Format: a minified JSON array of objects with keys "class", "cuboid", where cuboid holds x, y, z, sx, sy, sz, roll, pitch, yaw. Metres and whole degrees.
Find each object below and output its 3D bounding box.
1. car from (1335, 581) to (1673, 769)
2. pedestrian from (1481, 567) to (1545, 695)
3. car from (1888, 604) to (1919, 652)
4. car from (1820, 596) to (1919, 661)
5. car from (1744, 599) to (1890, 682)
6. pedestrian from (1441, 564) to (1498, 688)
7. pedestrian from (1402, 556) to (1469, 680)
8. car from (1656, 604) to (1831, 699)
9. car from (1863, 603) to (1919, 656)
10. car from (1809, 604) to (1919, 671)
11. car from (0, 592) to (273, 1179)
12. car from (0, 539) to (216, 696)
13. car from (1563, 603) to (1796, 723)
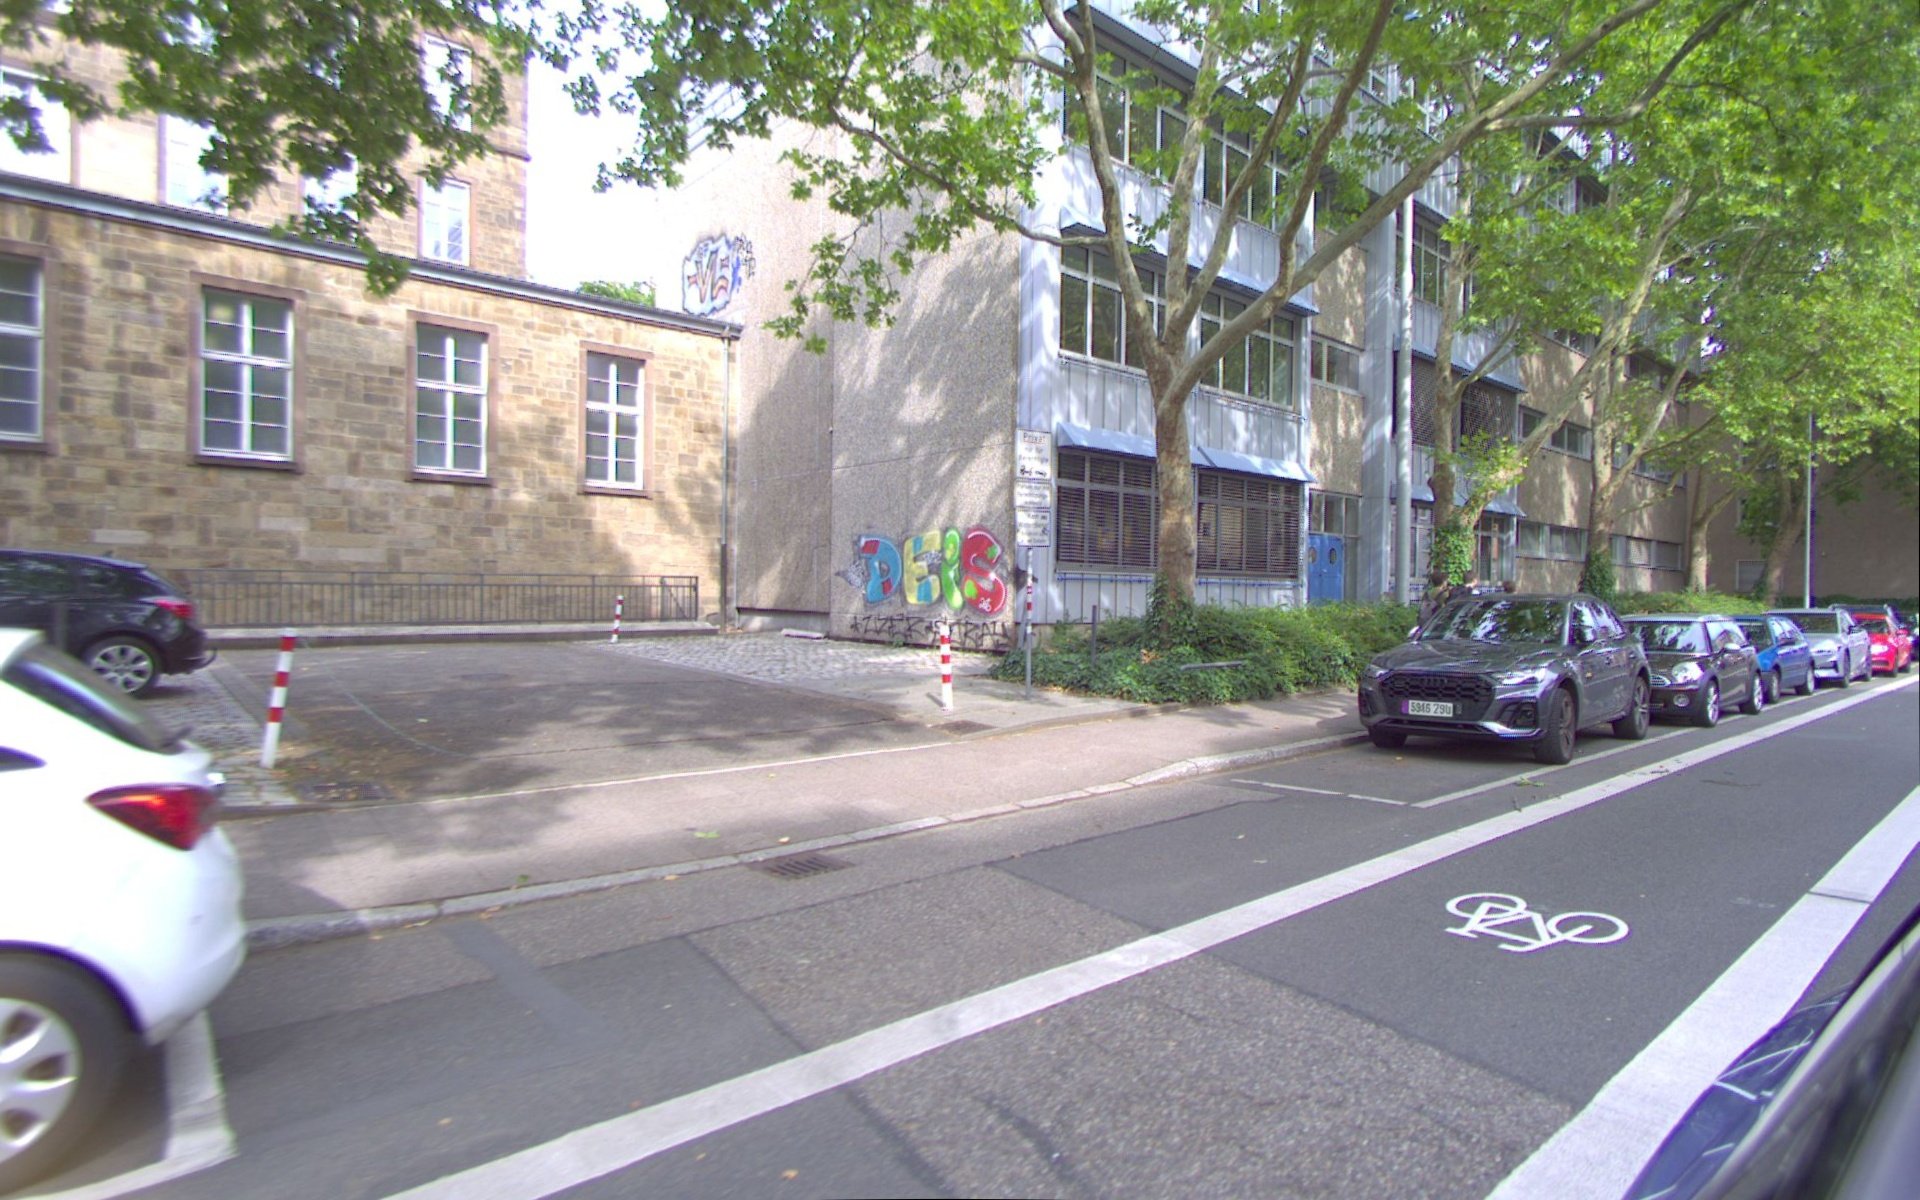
[{"class":"car","cuboid":[6.081,0.674,11.073,4.405,1.642,1.923,0,-1,-43]},{"class":"pedestrian","cuboid":[8.108,0.436,14.838,0.468,1.806,0.592,0,4,-41]},{"class":"car","cuboid":[32.473,0.901,33.866,3.886,1.545,1.601,0,-1,-41]},{"class":"car","cuboid":[25.392,0.750,28.158,3.730,1.686,1.650,0,-1,-41]},{"class":"car","cuboid":[17.597,0.757,20.703,4.362,1.524,1.601,0,-1,-41]},{"class":"pedestrian","cuboid":[7.682,0.384,15.272,0.518,1.806,0.502,0,4,-42]},{"class":"pedestrian","cuboid":[7.475,0.266,15.923,0.634,1.855,0.643,0,4,-42]},{"class":"car","cuboid":[13.457,0.807,17.309,3.886,1.441,1.601,0,-1,-41]},{"class":"car","cuboid":[28.953,0.866,30.860,3.886,1.545,1.601,0,-1,-41]},{"class":"car","cuboid":[21.575,0.829,23.960,4.032,1.465,1.601,0,-1,-41]},{"class":"car","cuboid":[-4.110,0.721,2.231,4.144,1.466,1.757,0,-1,-40]},{"class":"car","cuboid":[-9.894,0.136,9.735,4.224,1.468,1.671,3,-1,-43]},{"class":"car","cuboid":[10.279,0.773,14.329,4.493,1.451,1.642,0,-1,-41]}]
